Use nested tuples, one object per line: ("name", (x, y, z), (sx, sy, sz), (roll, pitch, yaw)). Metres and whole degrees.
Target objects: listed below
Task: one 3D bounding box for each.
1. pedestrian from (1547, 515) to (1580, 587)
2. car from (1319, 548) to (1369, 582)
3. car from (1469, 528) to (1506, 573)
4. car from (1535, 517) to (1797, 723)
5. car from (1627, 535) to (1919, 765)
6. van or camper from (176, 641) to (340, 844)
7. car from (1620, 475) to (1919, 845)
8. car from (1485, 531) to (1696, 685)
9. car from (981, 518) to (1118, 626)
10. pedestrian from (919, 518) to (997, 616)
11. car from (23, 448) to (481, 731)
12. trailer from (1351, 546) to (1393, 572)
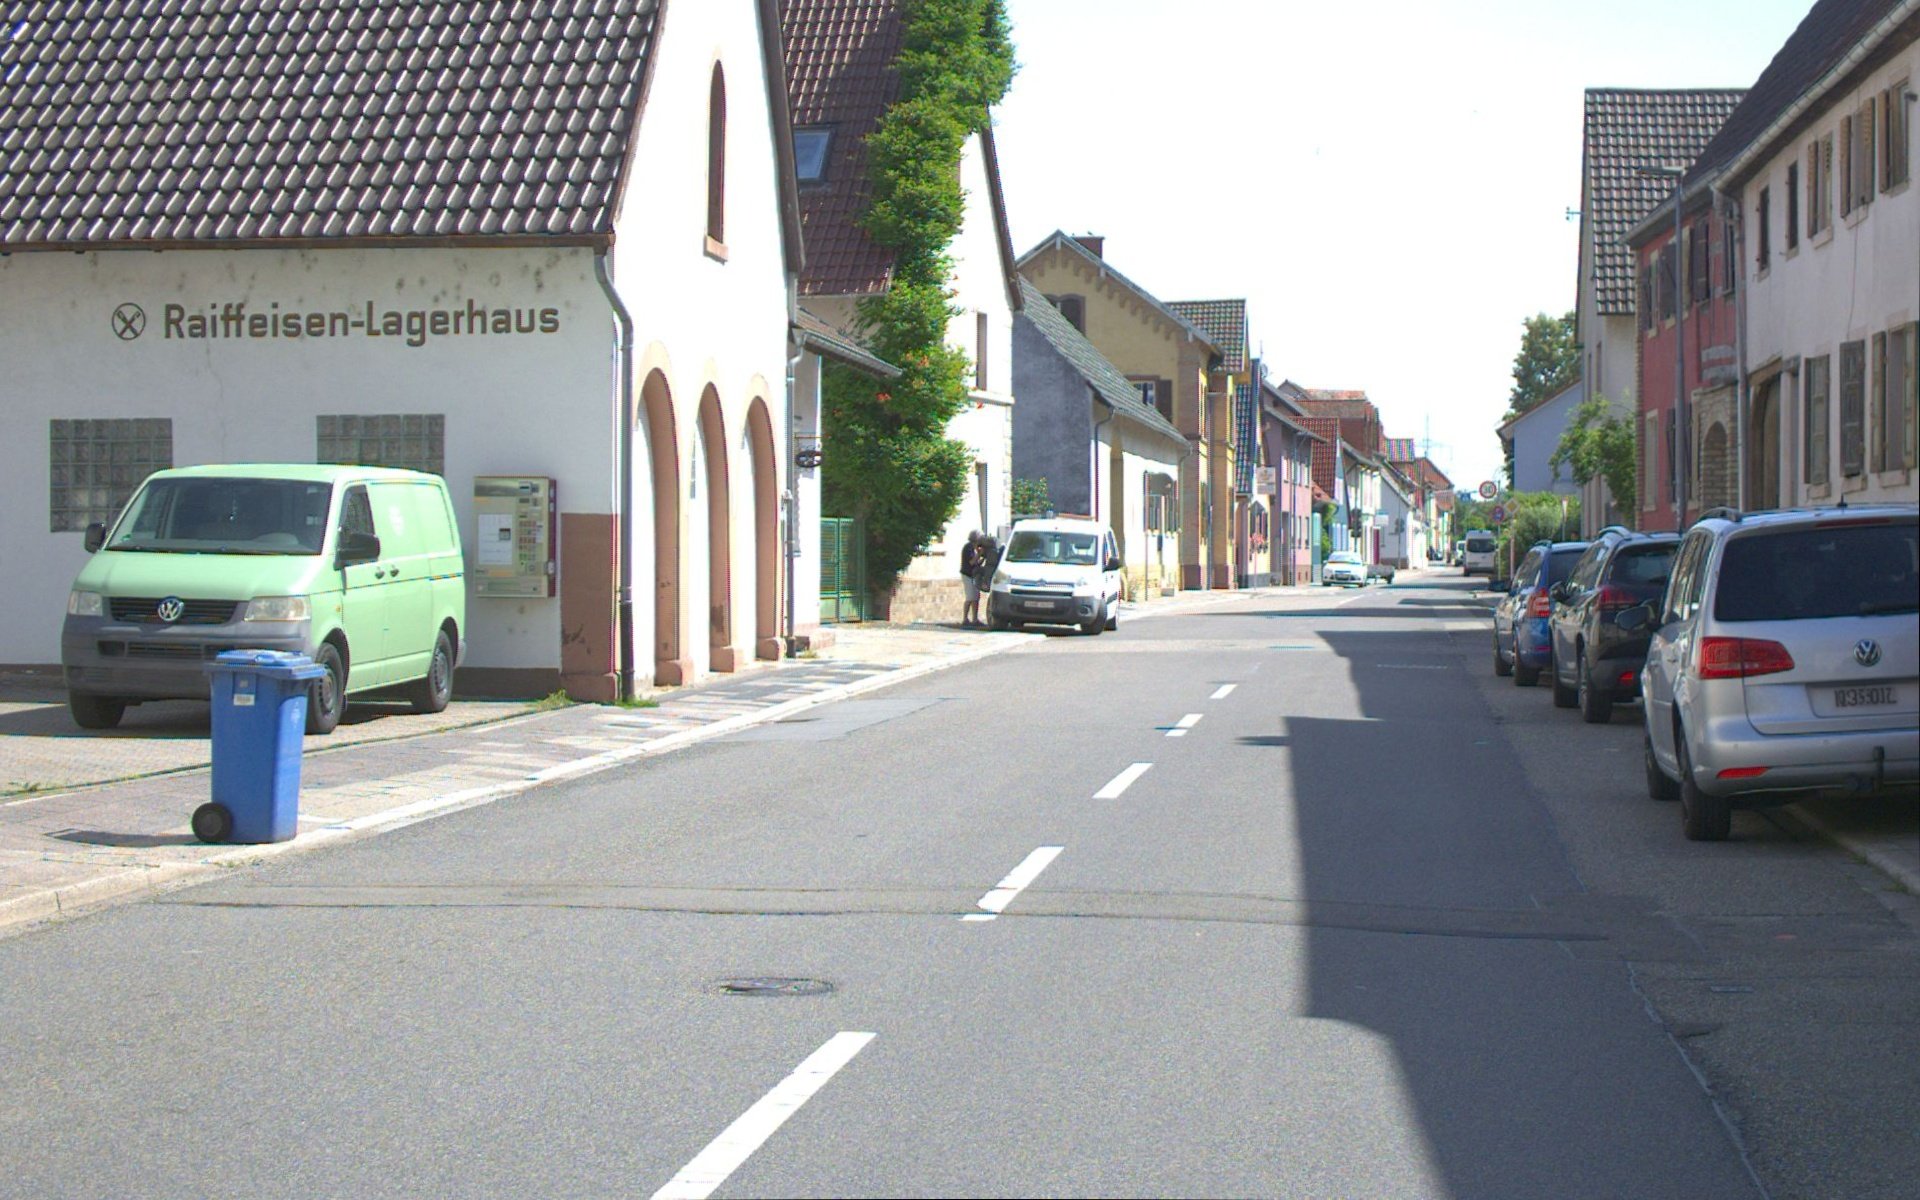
("pedestrian", (14.142, -1.149, 80.590), (0.719, 1.658, 0.892), (1, 1, 12))
("car", (16.581, -1.503, 148.240), (1.994, 1.437, 3.999), (0, 1, 8))
("car", (30.101, -2.811, 196.286), (2.018, 2.559, 3.999), (0, 1, 8))
("car", (5.826, 0.125, 28.744), (1.699, 1.578, 4.027), (-1, 1, 5))
("car", (5.500, 0.289, 23.552), (1.551, 1.433, 3.720), (-1, 1, 7))
("van or camper", (-3.442, 0.692, 16.880), (0.589, 0.948, 0.600), (1, 1, 12))
("car", (4.634, 0.252, 18.269), (1.899, 1.722, 4.248), (1, 1, 7))
("car", (6.430, 0.047, 35.428), (1.699, 1.464, 4.409), (-1, 1, 5))
("car", (1.466, -0.469, 54.815), (1.855, 1.641, 4.429), (0, 1, 6))
("pedestrian", (-0.028, -0.536, 55.381), (1.136, 1.546, 1.016), (1, 1, 5))
("car", (-5.261, -0.119, 26.258), (1.994, 1.958, 4.668), (0, 1, 8))
("trailer", (19.726, -1.969, 164.613), (1.994, 1.086, 3.999), (0, 2, 7))
